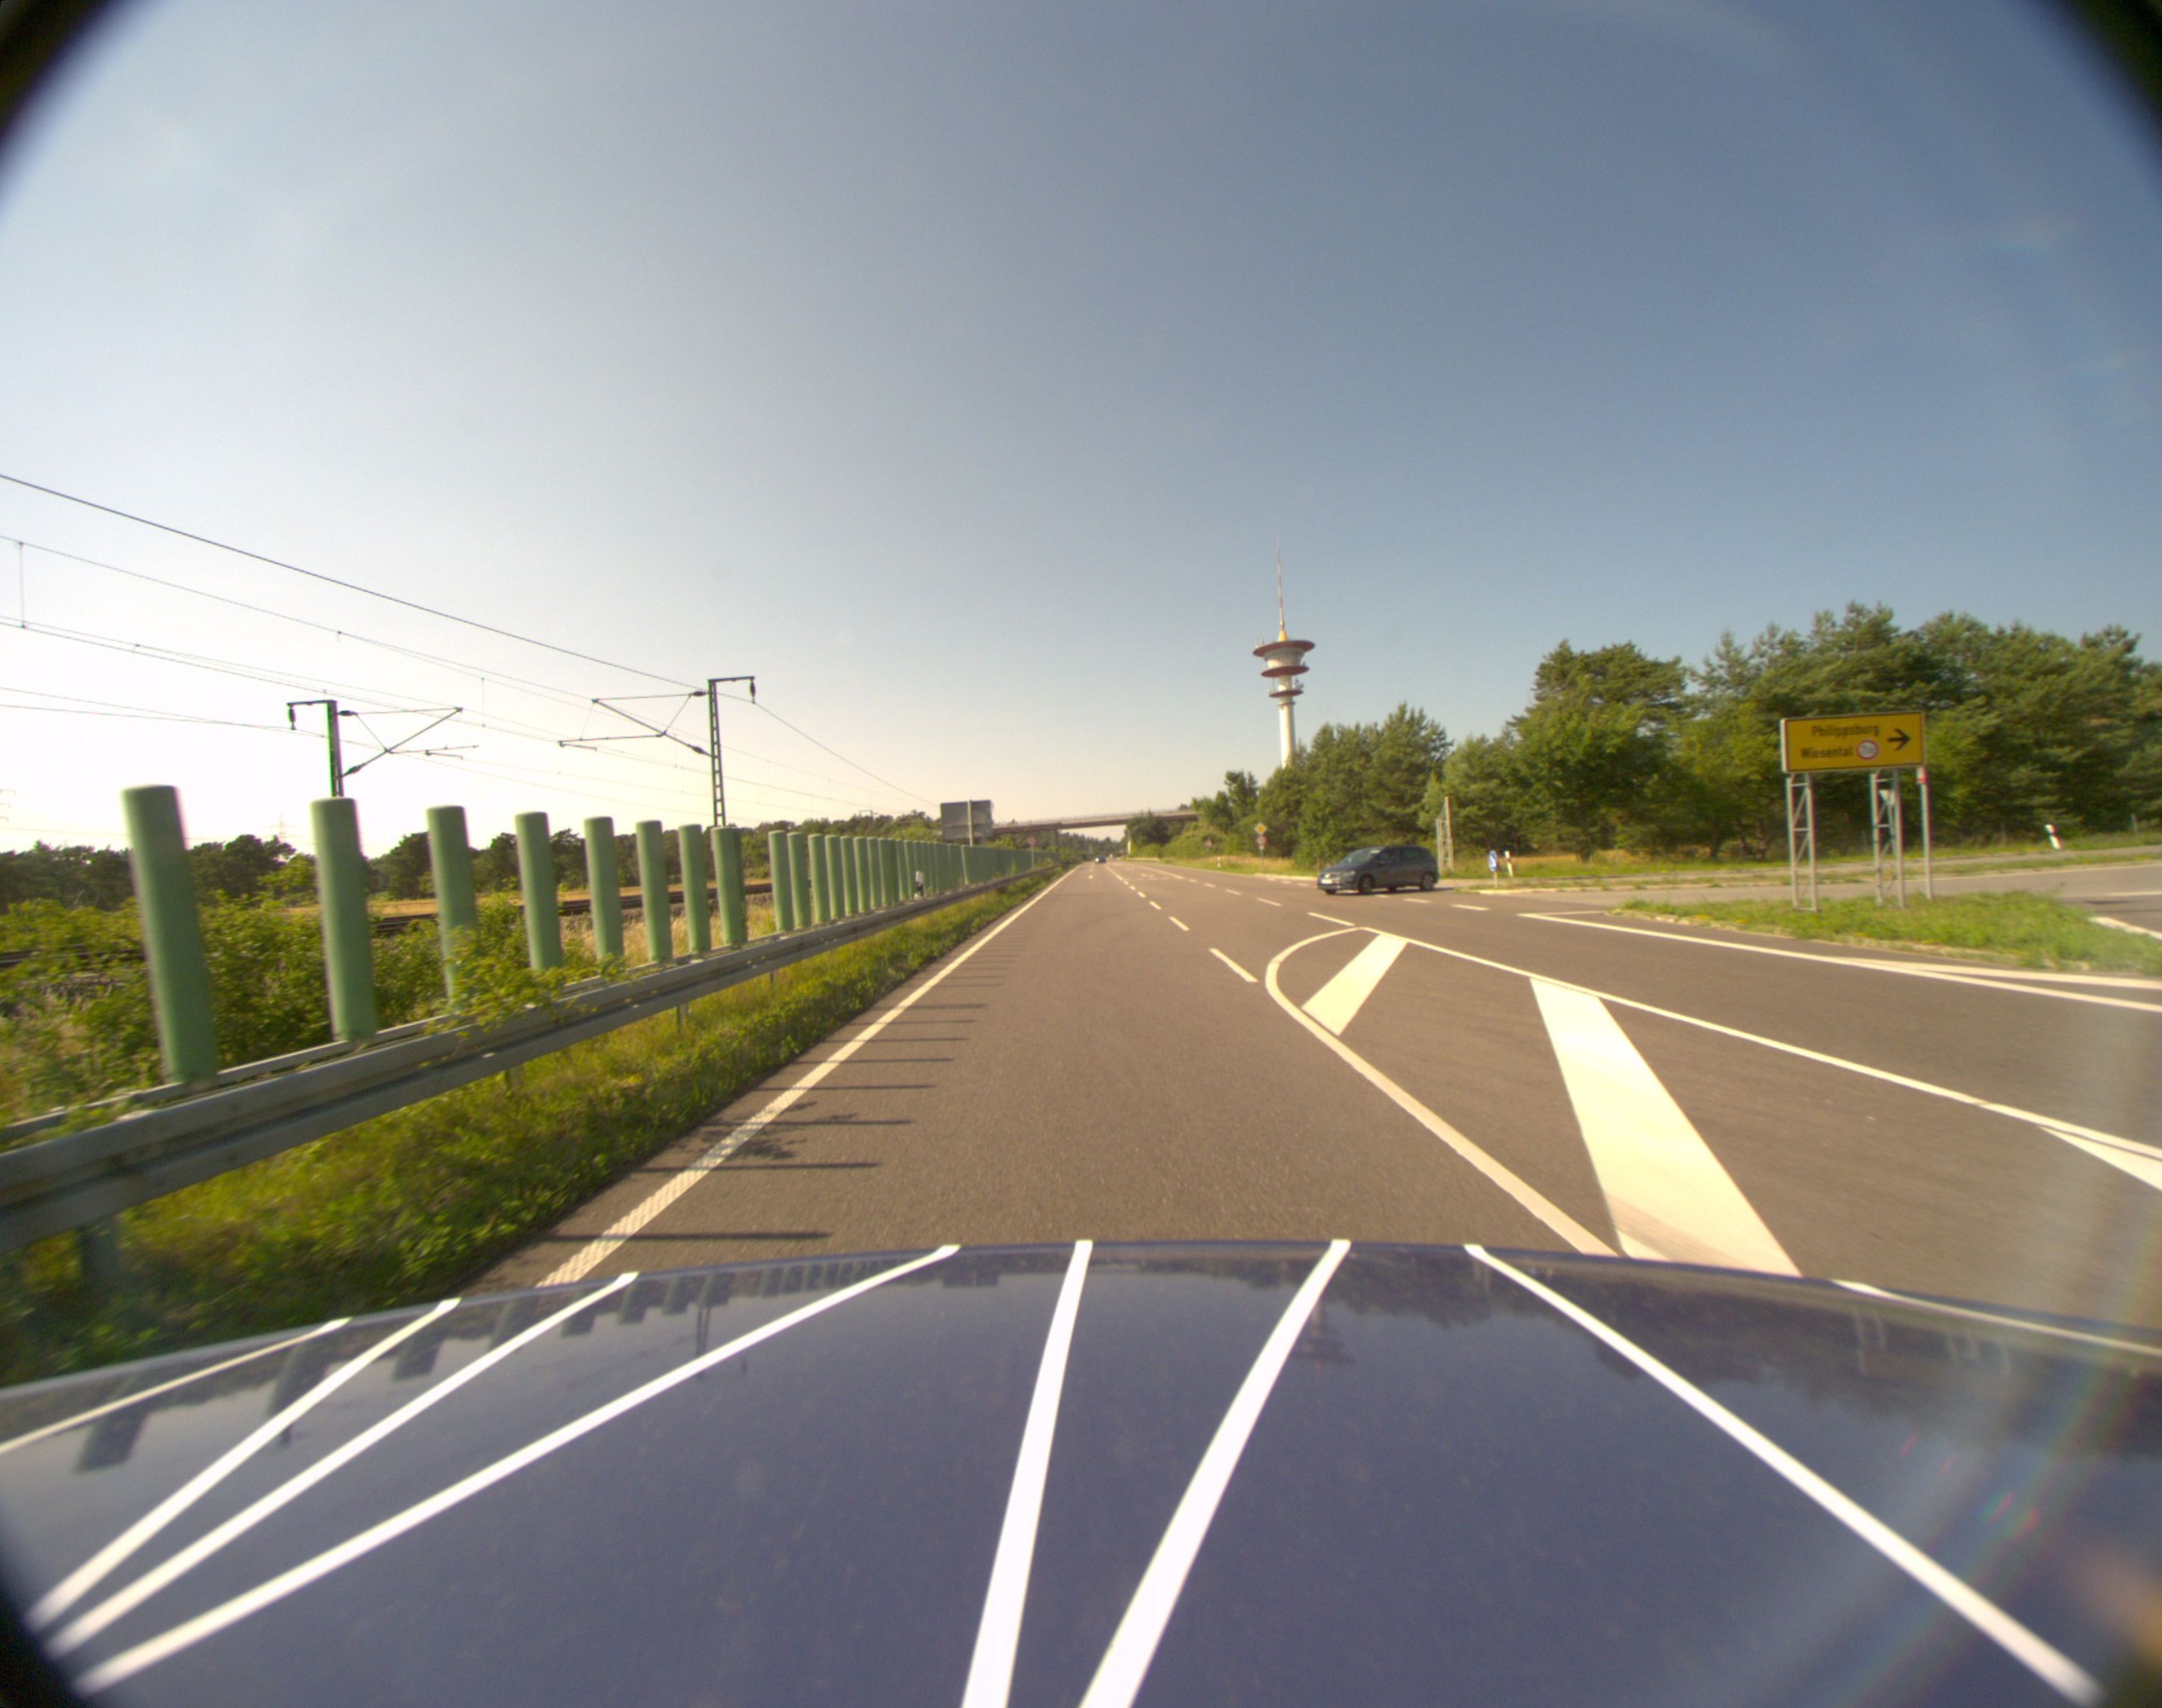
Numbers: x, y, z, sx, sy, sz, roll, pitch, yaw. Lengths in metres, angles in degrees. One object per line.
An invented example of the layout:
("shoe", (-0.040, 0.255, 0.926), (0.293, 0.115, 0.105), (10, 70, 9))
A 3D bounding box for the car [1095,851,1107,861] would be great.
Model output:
("car", (3.441, 0.355, 131.362), (1.998, 1.533, 4.332), (-1, 0, 2))

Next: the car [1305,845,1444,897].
("car", (9.728, 0.517, 25.219), (4.080, 1.533, 1.867), (-2, 1, -21))
